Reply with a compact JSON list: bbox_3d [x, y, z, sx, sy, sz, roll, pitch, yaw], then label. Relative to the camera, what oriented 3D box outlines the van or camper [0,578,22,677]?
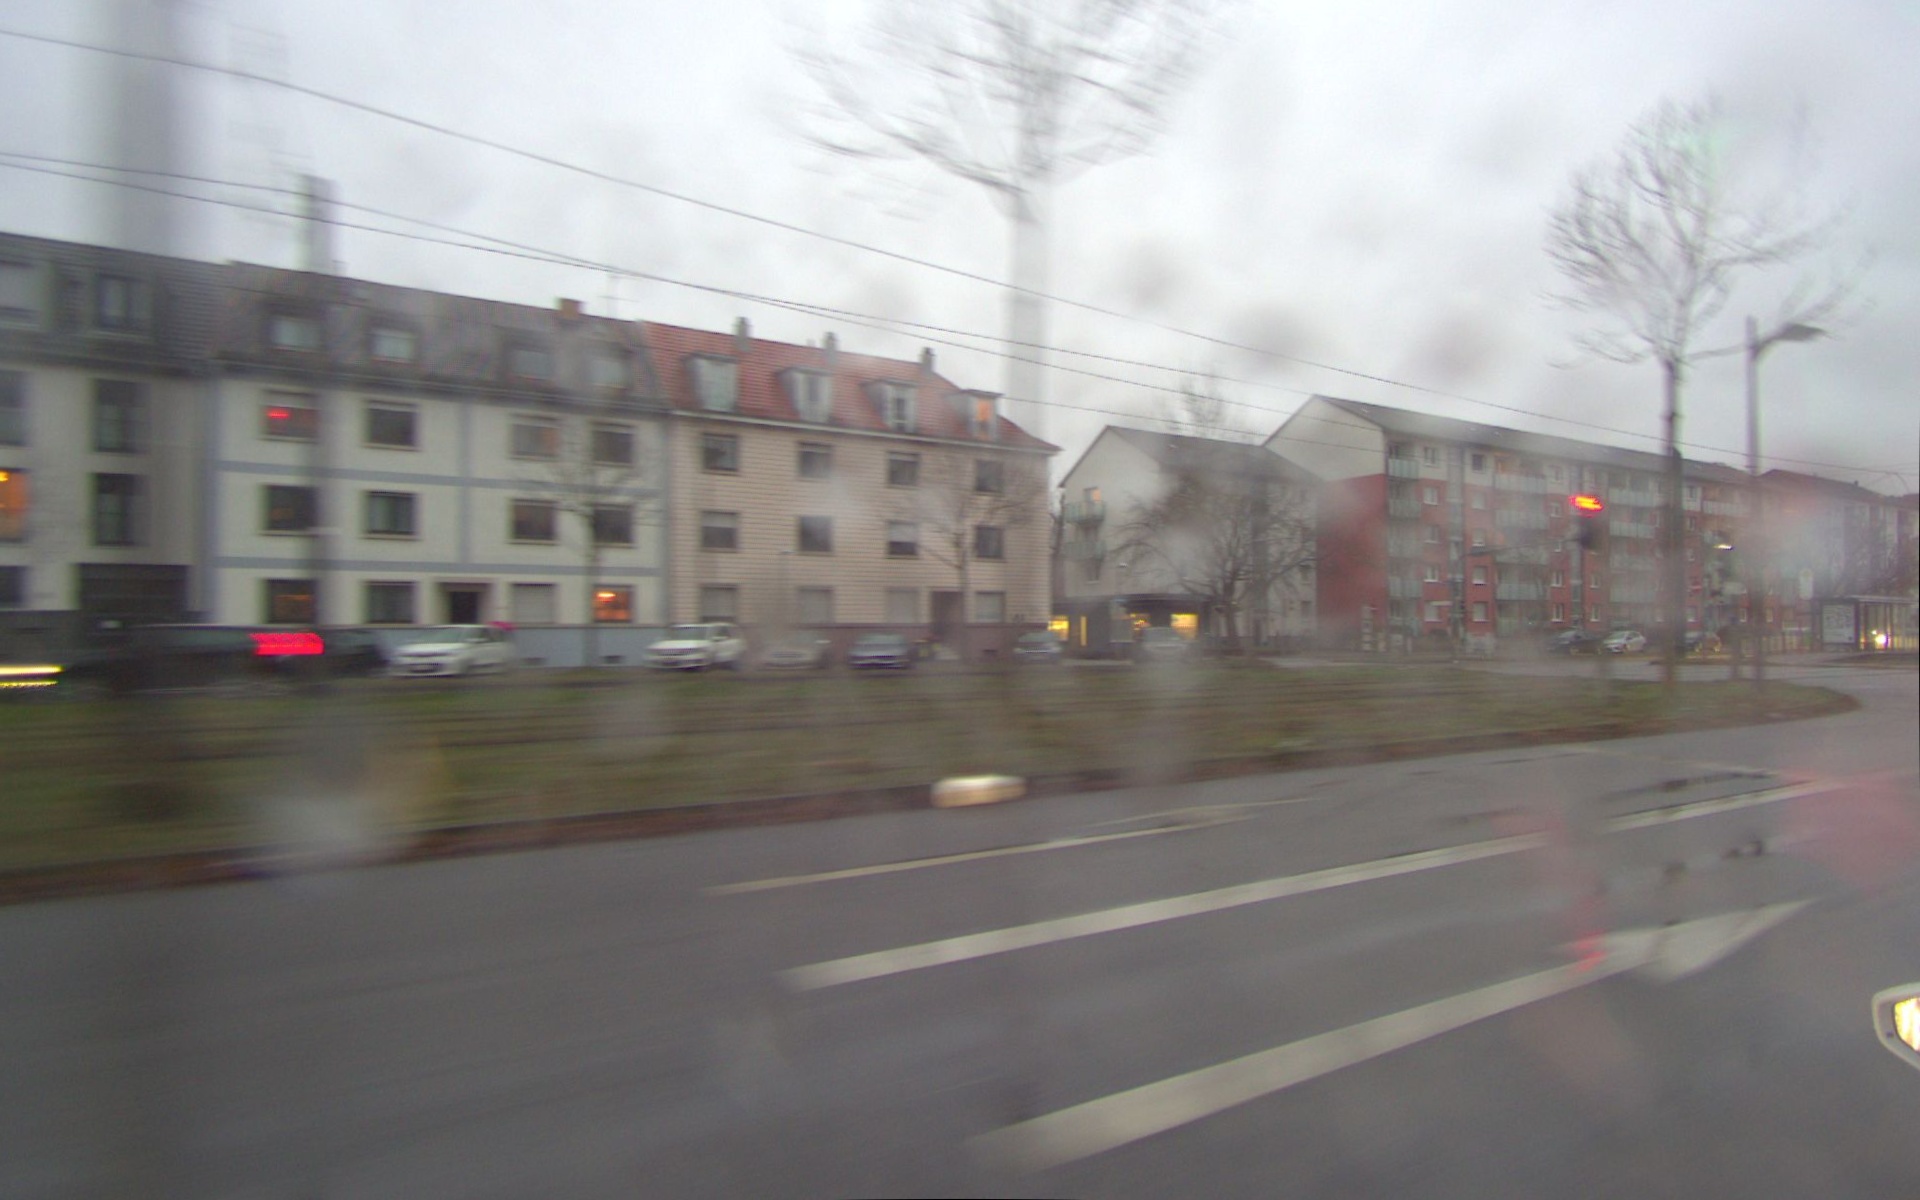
[{"bbox_3d":[-24.328,0.663,21.401,1.960,2.391,6.883,1,0,3],"label":"van or camper"}]

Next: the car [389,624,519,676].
[{"bbox_3d":[-13.329,1.278,26.663,1.658,1.163,3.419,1,0,1],"label":"car"}]

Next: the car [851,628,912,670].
[{"bbox_3d":[-2.558,1.585,33.404,1.648,1.131,4.189,1,0,0],"label":"car"}]

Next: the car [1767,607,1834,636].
[{"bbox_3d":[40.934,1.047,48.889,3.596,1.360,1.437,1,0,-32],"label":"car"}]

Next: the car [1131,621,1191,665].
[{"bbox_3d":[7.983,1.673,40.152,1.707,1.576,3.799,1,0,2],"label":"car"}]

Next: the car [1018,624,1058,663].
[{"bbox_3d":[2.934,1.591,37.380,1.424,1.355,3.770,0,-1,5],"label":"car"}]

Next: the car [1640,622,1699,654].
[{"bbox_3d":[47.593,2.516,67.379,3.959,2.040,1.981,1,0,-35],"label":"car"}]

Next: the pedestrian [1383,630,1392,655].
[{"bbox_3d":[21.139,2.083,49.711,0.339,1.200,0.434,1,0,19],"label":"pedestrian"}]

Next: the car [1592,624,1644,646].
[{"bbox_3d":[40.796,2.168,62.291,3.348,1.304,1.437,1,0,-32],"label":"car"}]

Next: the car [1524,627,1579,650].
[{"bbox_3d":[34.974,2.267,59.371,3.348,1.304,1.437,1,0,-32],"label":"car"}]

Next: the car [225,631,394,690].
[{"bbox_3d":[-16.054,1.451,25.008,1.845,1.216,3.541,1,0,1],"label":"car"}]

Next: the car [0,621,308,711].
[{"bbox_3d":[-15.497,1.199,19.439,4.737,1.523,1.870,1,0,-32],"label":"car"}]

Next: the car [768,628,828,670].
[{"bbox_3d":[-5.092,1.514,31.833,1.369,1.163,3.045,1,0,0],"label":"car"}]

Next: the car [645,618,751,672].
[{"bbox_3d":[-7.824,1.312,30.399,1.737,1.397,4.126,1,0,6],"label":"car"}]
